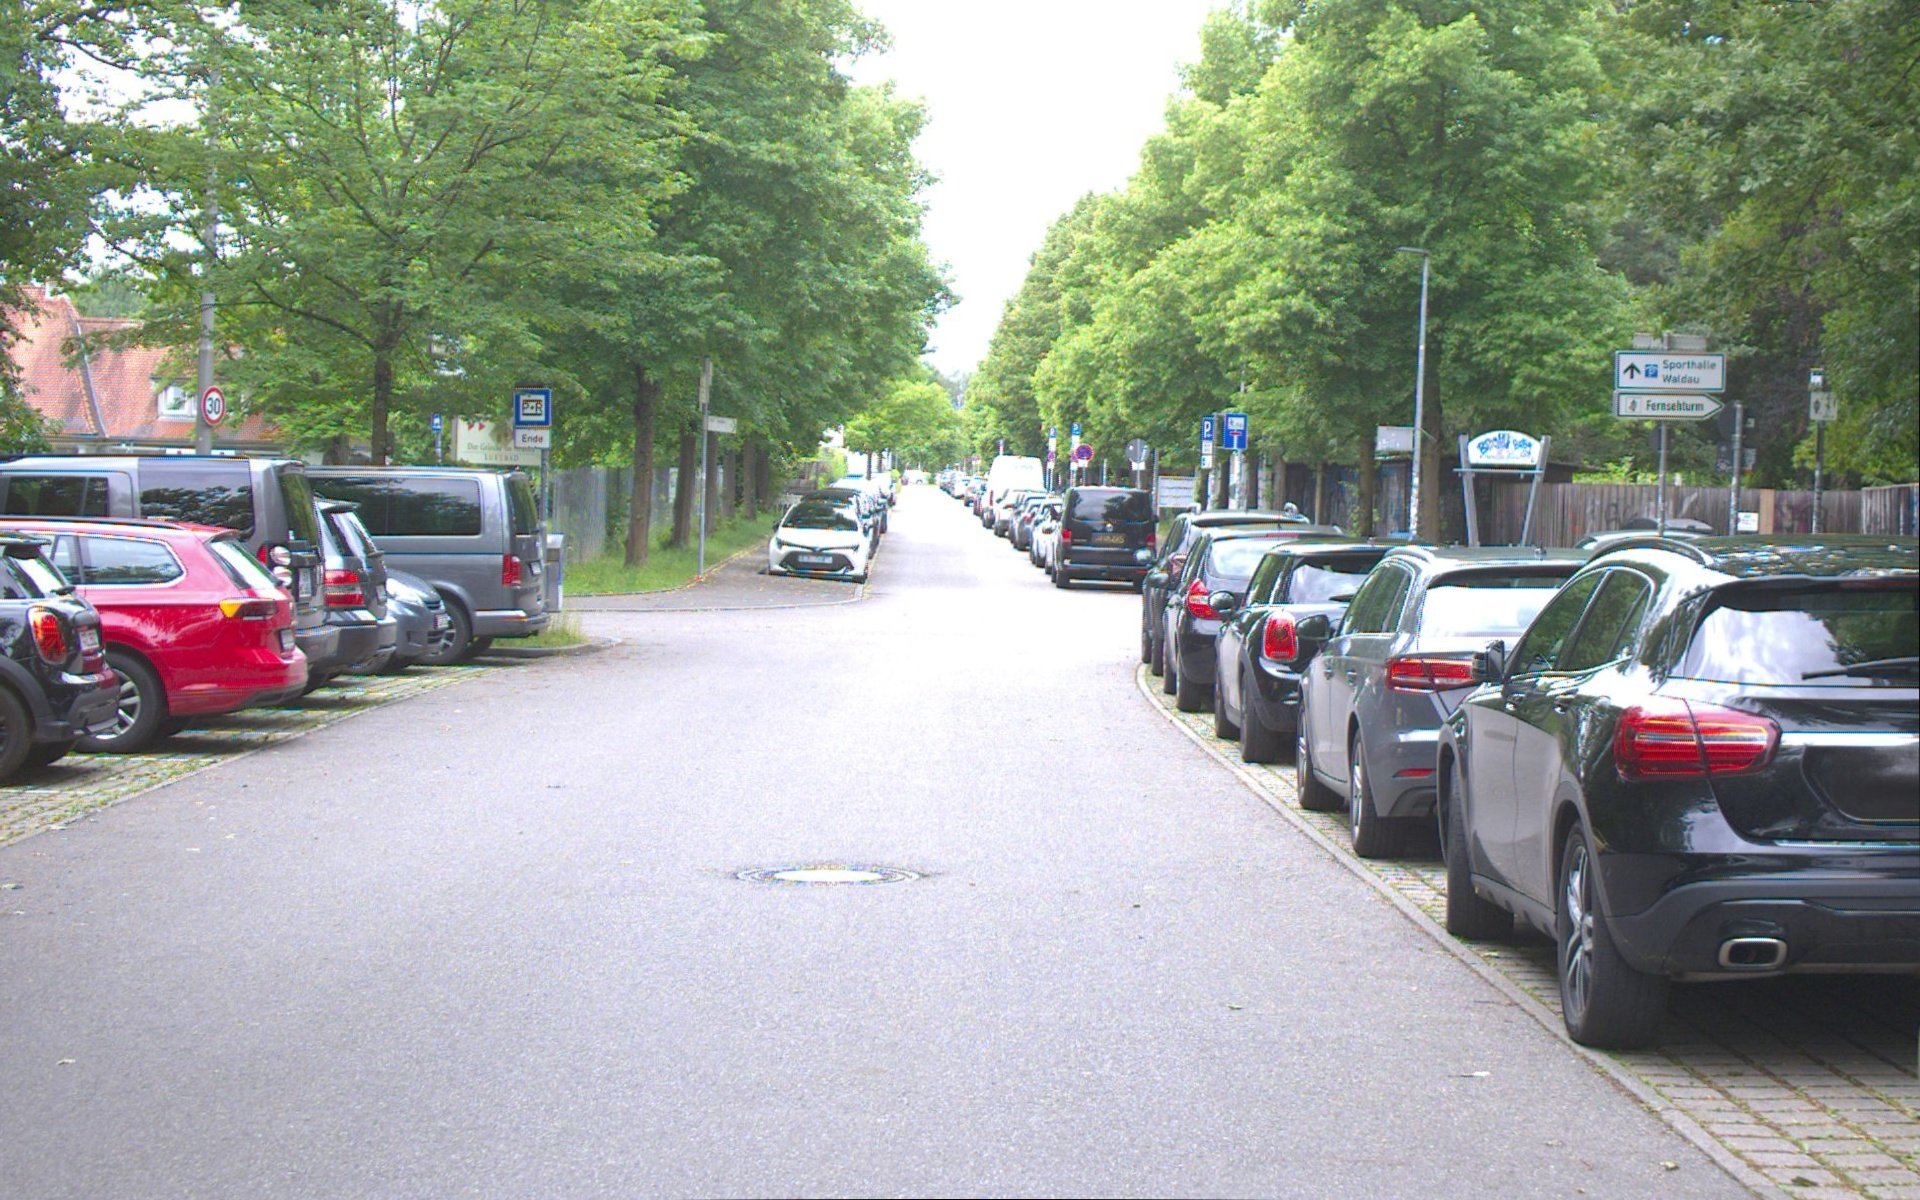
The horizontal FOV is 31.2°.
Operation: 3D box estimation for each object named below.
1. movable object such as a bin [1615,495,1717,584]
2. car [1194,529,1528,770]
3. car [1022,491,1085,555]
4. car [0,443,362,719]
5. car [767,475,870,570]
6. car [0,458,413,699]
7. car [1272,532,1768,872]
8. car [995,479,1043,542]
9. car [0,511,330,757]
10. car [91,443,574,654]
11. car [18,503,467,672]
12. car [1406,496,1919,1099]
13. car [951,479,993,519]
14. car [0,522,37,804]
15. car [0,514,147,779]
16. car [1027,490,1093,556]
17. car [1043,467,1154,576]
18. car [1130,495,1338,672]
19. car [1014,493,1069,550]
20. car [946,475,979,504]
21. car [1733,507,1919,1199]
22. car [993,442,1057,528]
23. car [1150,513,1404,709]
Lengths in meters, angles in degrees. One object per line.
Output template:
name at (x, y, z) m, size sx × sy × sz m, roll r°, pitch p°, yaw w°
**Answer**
movable object such as a bin at (11.645, -1.002, 56.709) m, size 1.282 × 1.437 × 1.078 m, roll 1°, pitch 1°, yaw -44°
car at (2.606, 0.256, 23.291) m, size 1.736 × 1.427 × 4.502 m, roll 1°, pitch 1°, yaw 0°
car at (2.306, -1.917, 85.314) m, size 1.469 × 1.526 × 3.189 m, roll 1°, pitch 2°, yaw 1°
car at (-6.462, -0.176, 24.713) m, size 3.987 × 1.856 × 1.813 m, roll 1°, pitch 1°, yaw 0°
car at (-2.642, -1.453, 63.670) m, size 1.765 × 1.590 × 4.217 m, roll 4°, pitch 2°, yaw -3°
car at (-6.456, -0.202, 27.148) m, size 3.986 × 1.759 × 1.824 m, roll 2°, pitch 1°, yaw -2°
car at (2.632, 0.399, 17.162) m, size 1.736 × 1.427 × 4.502 m, roll 1°, pitch 1°, yaw 0°
car at (1.894, -2.882, 110.399) m, size 1.469 × 1.961 × 3.189 m, roll 1°, pitch 2°, yaw 1°
car at (-6.239, 0.165, 22.317) m, size 3.986 × 1.471 × 1.780 m, roll 2°, pitch 1°, yaw -2°
car at (-6.231, -0.512, 34.525) m, size 4.502 × 1.971 × 1.891 m, roll 1°, pitch 1°, yaw -1°
car at (-6.709, -0.142, 32.396) m, size 3.815 × 1.507 × 1.809 m, roll 1°, pitch 2°, yaw 2°
car at (2.574, 0.482, 11.307) m, size 1.736 × 1.583 × 4.382 m, roll 1°, pitch 1°, yaw 2°
car at (0.650, -5.401, 184.098) m, size 1.994 × 2.007 × 4.000 m, roll 1°, pitch 1°, yaw 3°
car at (-6.868, 0.272, 17.293) m, size 3.987 × 1.433 × 1.618 m, roll 2°, pitch 1°, yaw 0°
car at (-6.844, 0.192, 19.680) m, size 3.986 × 1.433 × 1.672 m, roll 2°, pitch 1°, yaw -3°
car at (2.326, -1.815, 80.320) m, size 1.469 × 1.476 × 3.189 m, roll 1°, pitch 2°, yaw 1°
car at (2.637, -1.533, 66.270) m, size 1.988 × 2.006 × 4.108 m, roll 1°, pitch 2°, yaw 1°
car at (2.694, -0.207, 34.585) m, size 1.736 × 1.628 × 4.375 m, roll 1°, pitch 1°, yaw 0°
car at (2.226, -2.166, 94.328) m, size 1.469 × 1.526 × 3.189 m, roll 1°, pitch 2°, yaw 1°
car at (0.165, -6.967, 217.621) m, size 1.898 × 1.700 × 4.063 m, roll 1°, pitch 1°, yaw 3°
car at (2.874, 0.619, 6.578) m, size 1.736 × 1.562 × 4.009 m, roll 1°, pitch 1°, yaw -2°
car at (2.331, -4.160, 124.129) m, size 2.184 × 3.005 × 4.897 m, roll 1°, pitch 2°, yaw 1°
car at (2.583, 0.036, 28.895) m, size 1.736 × 1.489 × 4.234 m, roll 1°, pitch 1°, yaw 0°
